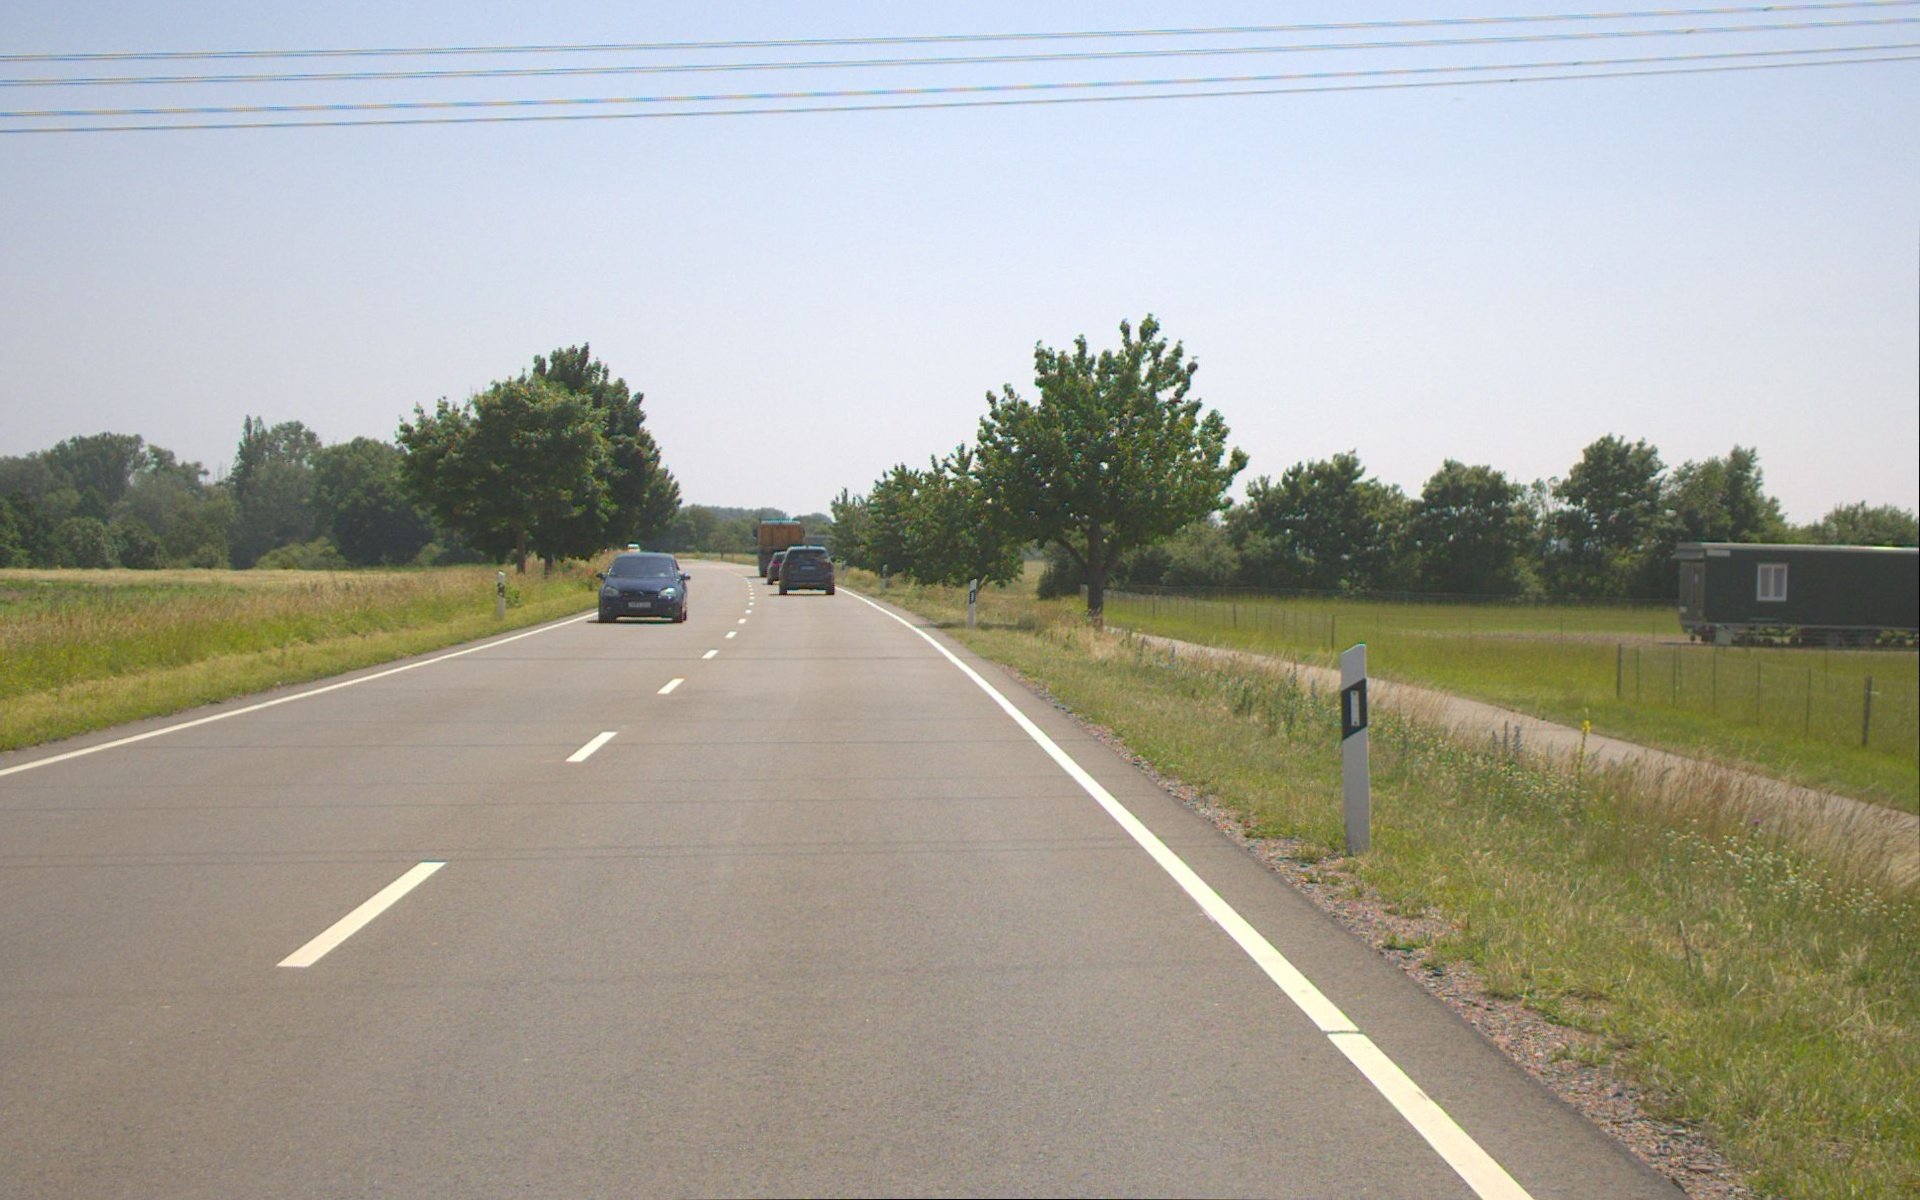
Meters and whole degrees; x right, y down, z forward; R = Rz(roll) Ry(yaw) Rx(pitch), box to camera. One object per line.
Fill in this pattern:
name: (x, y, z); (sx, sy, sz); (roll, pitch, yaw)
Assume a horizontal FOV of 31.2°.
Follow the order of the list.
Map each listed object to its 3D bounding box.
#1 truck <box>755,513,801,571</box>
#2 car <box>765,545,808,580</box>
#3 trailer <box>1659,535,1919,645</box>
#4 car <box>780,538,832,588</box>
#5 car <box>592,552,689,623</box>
truck: (-10.281, -3.223, 193.457); (2.370, 3.129, 8.749); (1, 0, -4)
car: (-7.773, -1.688, 153.724); (1.850, 1.518, 4.001); (1, 0, -3)
trailer: (30.694, -0.293, 118.044); (12.409, 3.461, 3.806); (2, 1, -4)
car: (-5.322, -1.276, 118.722); (1.714, 1.688, 3.989); (1, 0, -3)
car: (-6.751, -0.266, 72.893); (1.734, 1.442, 4.000); (1, 0, -1)
